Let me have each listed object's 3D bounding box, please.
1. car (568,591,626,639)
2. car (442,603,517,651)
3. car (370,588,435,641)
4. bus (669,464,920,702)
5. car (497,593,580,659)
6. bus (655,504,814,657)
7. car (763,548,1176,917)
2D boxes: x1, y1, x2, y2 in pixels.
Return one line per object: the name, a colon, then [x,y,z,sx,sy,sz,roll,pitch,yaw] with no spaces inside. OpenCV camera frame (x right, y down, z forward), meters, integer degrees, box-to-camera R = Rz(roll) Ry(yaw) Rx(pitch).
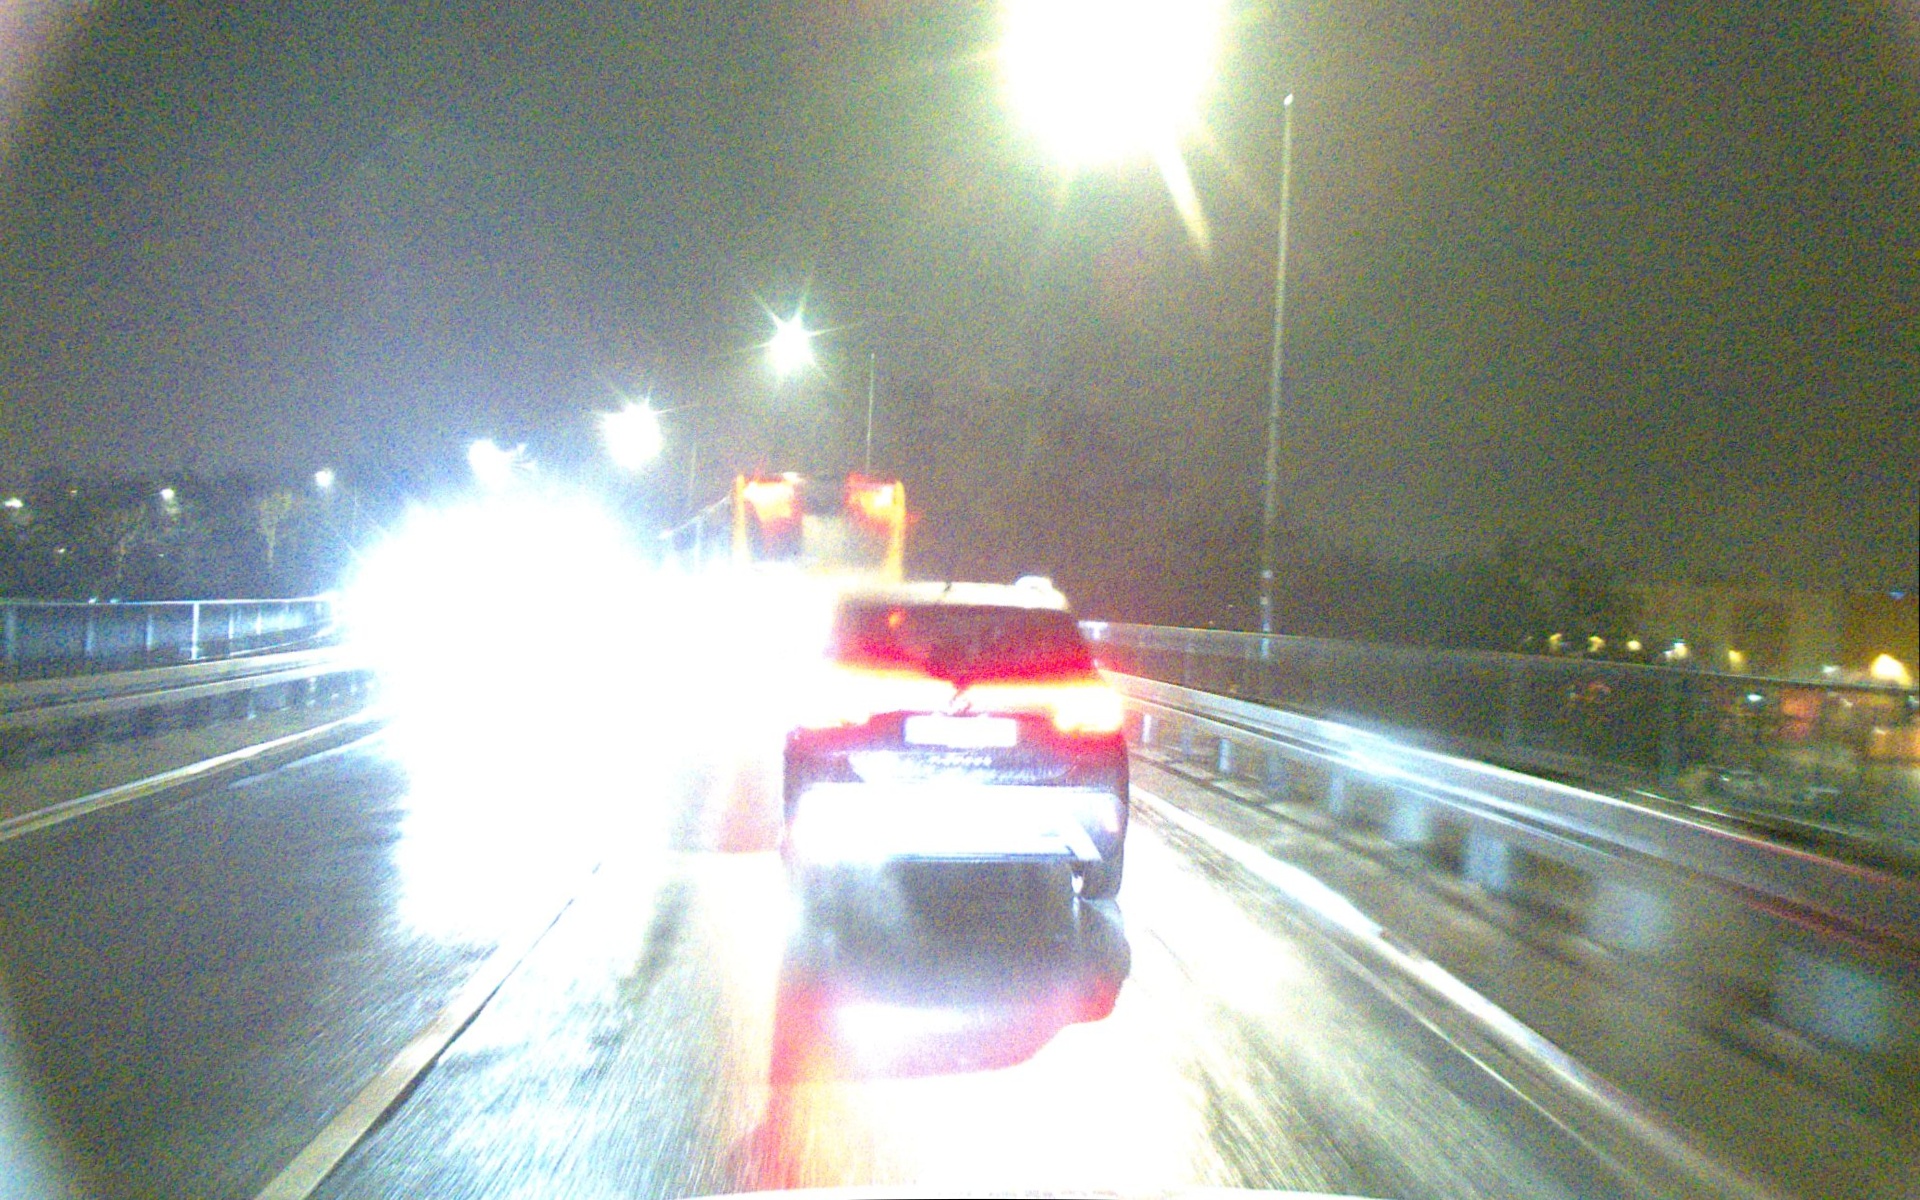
car: [-13.627,0.586,61.986,1.612,1.685,3.686,-1,-2,-21]
car: [-17.227,0.941,59.191,1.772,1.659,3.955,1,-1,-28]
car: [-24.144,0.624,71.506,2.020,2.208,5.109,0,0,-27]
bus: [-3.316,-0.275,28.722,3.029,3.187,12.660,-1,0,-12]
car: [-11.825,0.684,46.274,1.753,1.734,4.287,-1,0,-21]
bus: [-5.474,-0.429,38.927,2.996,3.186,8.052,1,0,-13]
car: [-0.057,0.593,9.293,1.819,1.614,3.997,0,0,-3]
